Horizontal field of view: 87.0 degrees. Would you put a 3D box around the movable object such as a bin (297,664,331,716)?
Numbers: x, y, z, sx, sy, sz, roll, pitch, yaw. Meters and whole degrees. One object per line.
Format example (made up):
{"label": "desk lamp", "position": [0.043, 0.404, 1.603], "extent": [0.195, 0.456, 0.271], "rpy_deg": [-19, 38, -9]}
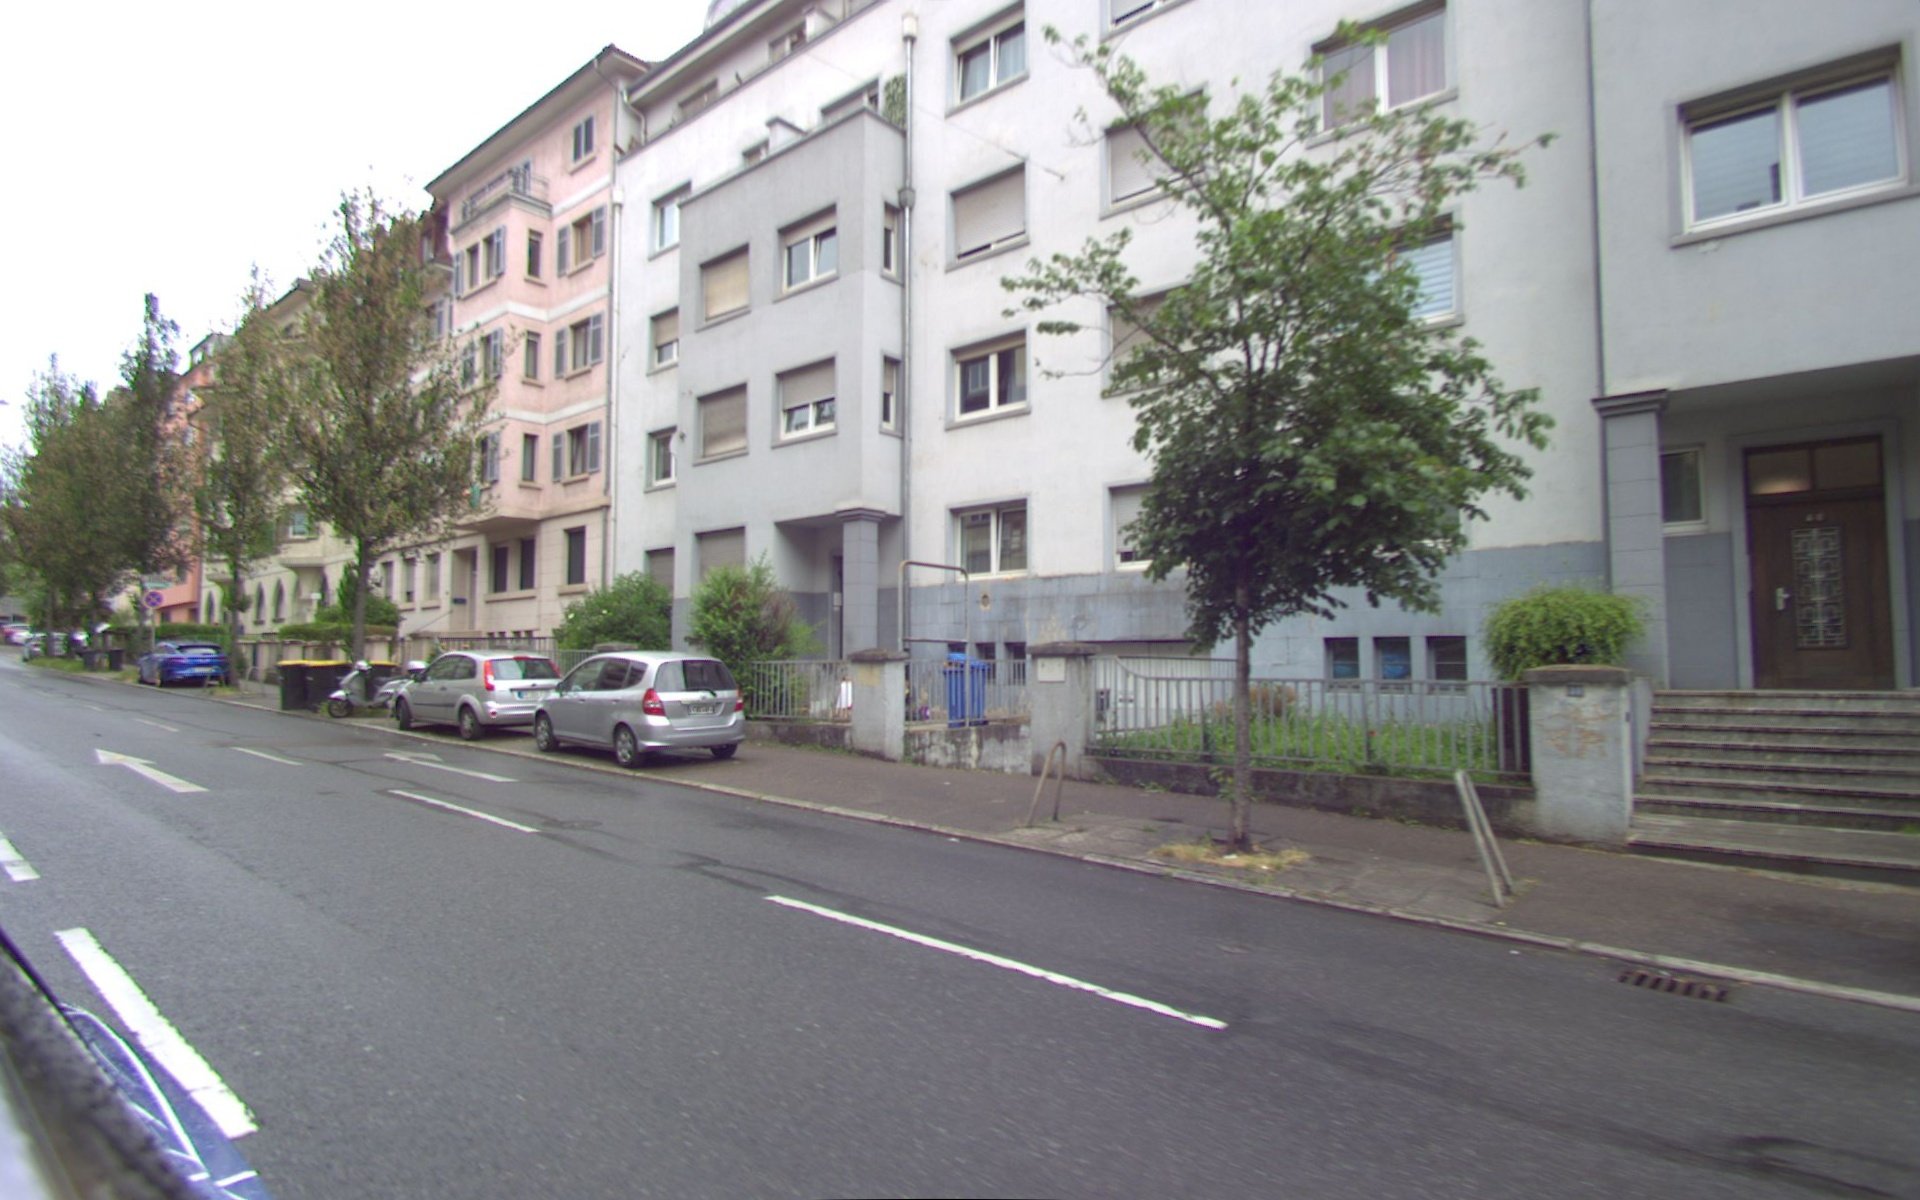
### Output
{"label": "movable object such as a bin", "position": [-14.036, 1.945, 21.998], "extent": [0.482, 1.066, 0.467], "rpy_deg": [0, 0, 32]}

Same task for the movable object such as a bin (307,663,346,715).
{"label": "movable object such as a bin", "position": [-13.484, 1.888, 21.542], "extent": [0.480, 1.066, 0.522], "rpy_deg": [0, 0, 19]}

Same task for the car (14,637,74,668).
{"label": "car", "position": [-45.820, 2.629, 50.600], "extent": [4.136, 1.428, 1.663], "rpy_deg": [-1, -4, 41]}

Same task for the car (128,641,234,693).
{"label": "car", "position": [-24.296, 2.050, 31.509], "extent": [4.600, 1.396, 1.661], "rpy_deg": [0, -3, 41]}

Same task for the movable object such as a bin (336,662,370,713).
{"label": "movable object such as a bin", "position": [-13.264, 1.899, 22.113], "extent": [0.482, 1.066, 0.467], "rpy_deg": [0, 0, 32]}

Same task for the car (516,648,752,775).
{"label": "car", "position": [-4.783, 1.488, 14.562], "extent": [3.889, 1.462, 1.582], "rpy_deg": [-1, -3, 45]}

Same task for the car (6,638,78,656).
{"label": "car", "position": [-70.485, 3.613, 77.773], "extent": [1.646, 1.307, 3.878], "rpy_deg": [-1, -4, 41]}

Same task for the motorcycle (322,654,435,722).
{"label": "motorcycle", "position": [-11.719, 1.766, 20.444], "extent": [1.782, 1.325, 0.743], "rpy_deg": [2, -3, -8]}

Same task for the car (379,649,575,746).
{"label": "car", "position": [-8.480, 1.610, 17.647], "extent": [3.884, 1.407, 1.584], "rpy_deg": [0, -3, 40]}

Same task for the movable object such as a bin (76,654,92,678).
{"label": "movable object such as a bin", "position": [-34.126, 2.573, 39.427], "extent": [0.572, 0.896, 0.360], "rpy_deg": [-1, -2, 40]}

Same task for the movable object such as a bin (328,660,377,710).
{"label": "movable object such as a bin", "position": [-13.607, 1.890, 22.680], "extent": [0.483, 1.066, 0.816], "rpy_deg": [0, -1, 42]}

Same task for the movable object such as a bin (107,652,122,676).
{"label": "movable object such as a bin", "position": [-33.558, 2.551, 40.173], "extent": [0.572, 0.918, 0.360], "rpy_deg": [0, -1, 40]}

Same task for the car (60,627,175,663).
{"label": "car", "position": [-47.431, 2.522, 57.078], "extent": [1.917, 1.919, 4.672], "rpy_deg": [0, -2, 39]}

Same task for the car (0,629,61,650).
{"label": "car", "position": [-77.982, 3.286, 84.666], "extent": [1.592, 1.634, 3.878], "rpy_deg": [-1, -4, 41]}

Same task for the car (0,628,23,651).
{"label": "car", "position": [-81.646, 3.295, 85.063], "extent": [1.865, 1.861, 3.881], "rpy_deg": [0, -4, 38]}

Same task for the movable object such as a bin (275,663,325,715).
{"label": "movable object such as a bin", "position": [-14.531, 1.952, 22.289], "extent": [0.483, 1.066, 0.816], "rpy_deg": [0, 0, 42]}
